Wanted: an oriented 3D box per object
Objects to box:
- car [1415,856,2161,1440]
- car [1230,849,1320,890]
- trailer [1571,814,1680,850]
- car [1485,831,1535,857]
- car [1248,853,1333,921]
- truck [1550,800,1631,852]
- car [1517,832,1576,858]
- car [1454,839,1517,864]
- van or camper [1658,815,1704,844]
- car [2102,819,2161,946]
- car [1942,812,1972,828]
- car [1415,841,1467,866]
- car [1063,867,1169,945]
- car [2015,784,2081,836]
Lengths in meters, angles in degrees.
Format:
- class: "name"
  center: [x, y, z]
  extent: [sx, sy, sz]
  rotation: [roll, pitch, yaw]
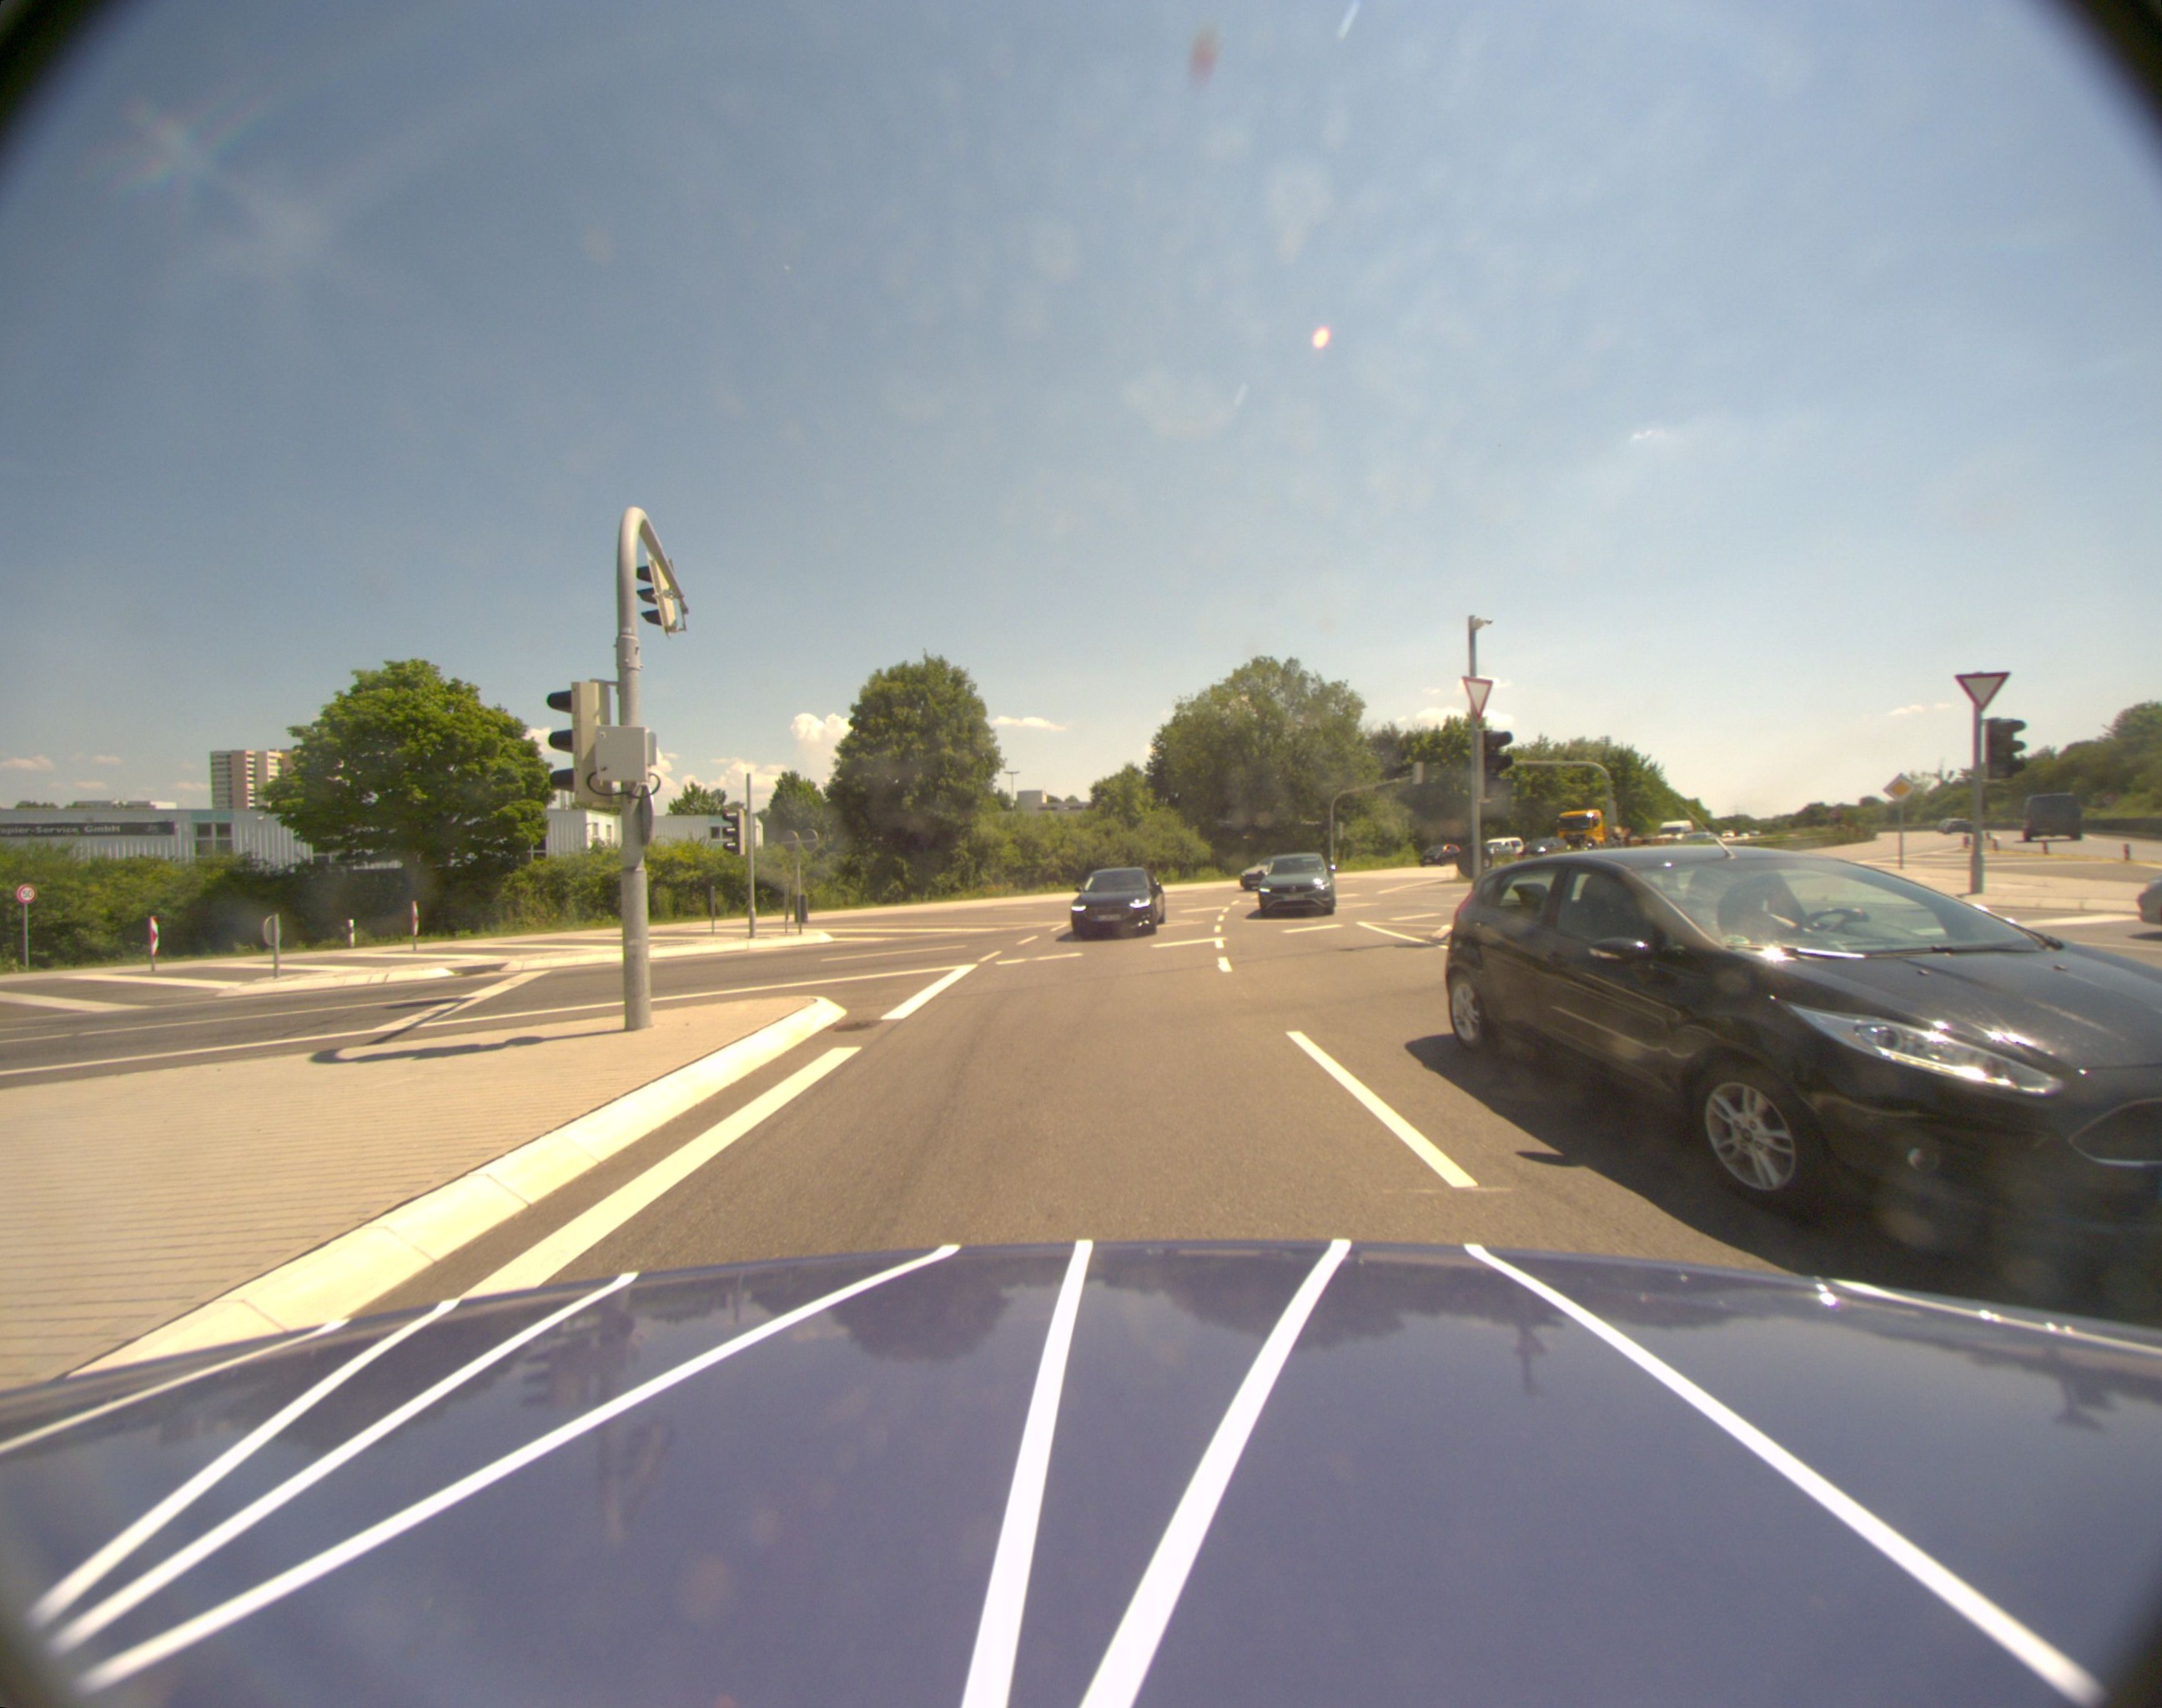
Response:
- class: "car"
  center: [3.449, 0.808, 4.041]
  extent: [1.627, 1.476, 4.000]
  rotation: [-3, 0, 2]
- class: "car"
  center: [8.291, 0.636, 32.255]
  extent: [1.887, 1.456, 4.007]
  rotation: [-3, 0, 44]
- class: "trailer"
  center: [47.194, -1.986, 65.451]
  extent: [16.385, 2.578, 3.030]
  rotation: [-3, 0, -38]
- class: "car"
  center: [33.934, -0.790, 60.087]
  extent: [4.801, 1.797, 1.769]
  rotation: [-4, 0, -40]
- class: "car"
  center: [5.605, 0.802, 19.997]
  extent: [1.704, 1.456, 4.005]
  rotation: [-3, 0, 21]
- class: "truck"
  center: [40.440, -2.251, 60.221]
  extent: [7.482, 3.750, 3.016]
  rotation: [-3, 0, -38]
- class: "car"
  center: [33.649, -0.673, 54.902]
  extent: [4.654, 1.630, 1.785]
  rotation: [-4, 0, -34]
- class: "car"
  center: [27.334, -0.203, 51.289]
  extent: [4.617, 1.402, 1.769]
  rotation: [-4, 0, -35]
- class: "van or camper"
  center: [58.100, -2.374, 73.521]
  extent: [5.918, 2.558, 2.064]
  rotation: [-4, 0, -38]
- class: "car"
  center: [14.716, 0.324, 8.053]
  extent: [1.776, 1.586, 4.326]
  rotation: [-3, 0, -7]
- class: "car"
  center: [99.670, -3.881, 86.456]
  extent: [4.665, 1.682, 1.995]
  rotation: [-3, 1, -39]
- class: "car"
  center: [25.742, -0.039, 54.298]
  extent: [3.657, 1.500, 1.769]
  rotation: [-4, 0, -37]
- class: "car"
  center: [0.938, 1.103, 17.631]
  extent: [1.729, 1.430, 4.307]
  rotation: [-3, 0, 12]
- class: "car"
  center: [56.131, -2.564, 44.209]
  extent: [5.907, 2.688, 2.060]
  rotation: [-4, 0, -40]
